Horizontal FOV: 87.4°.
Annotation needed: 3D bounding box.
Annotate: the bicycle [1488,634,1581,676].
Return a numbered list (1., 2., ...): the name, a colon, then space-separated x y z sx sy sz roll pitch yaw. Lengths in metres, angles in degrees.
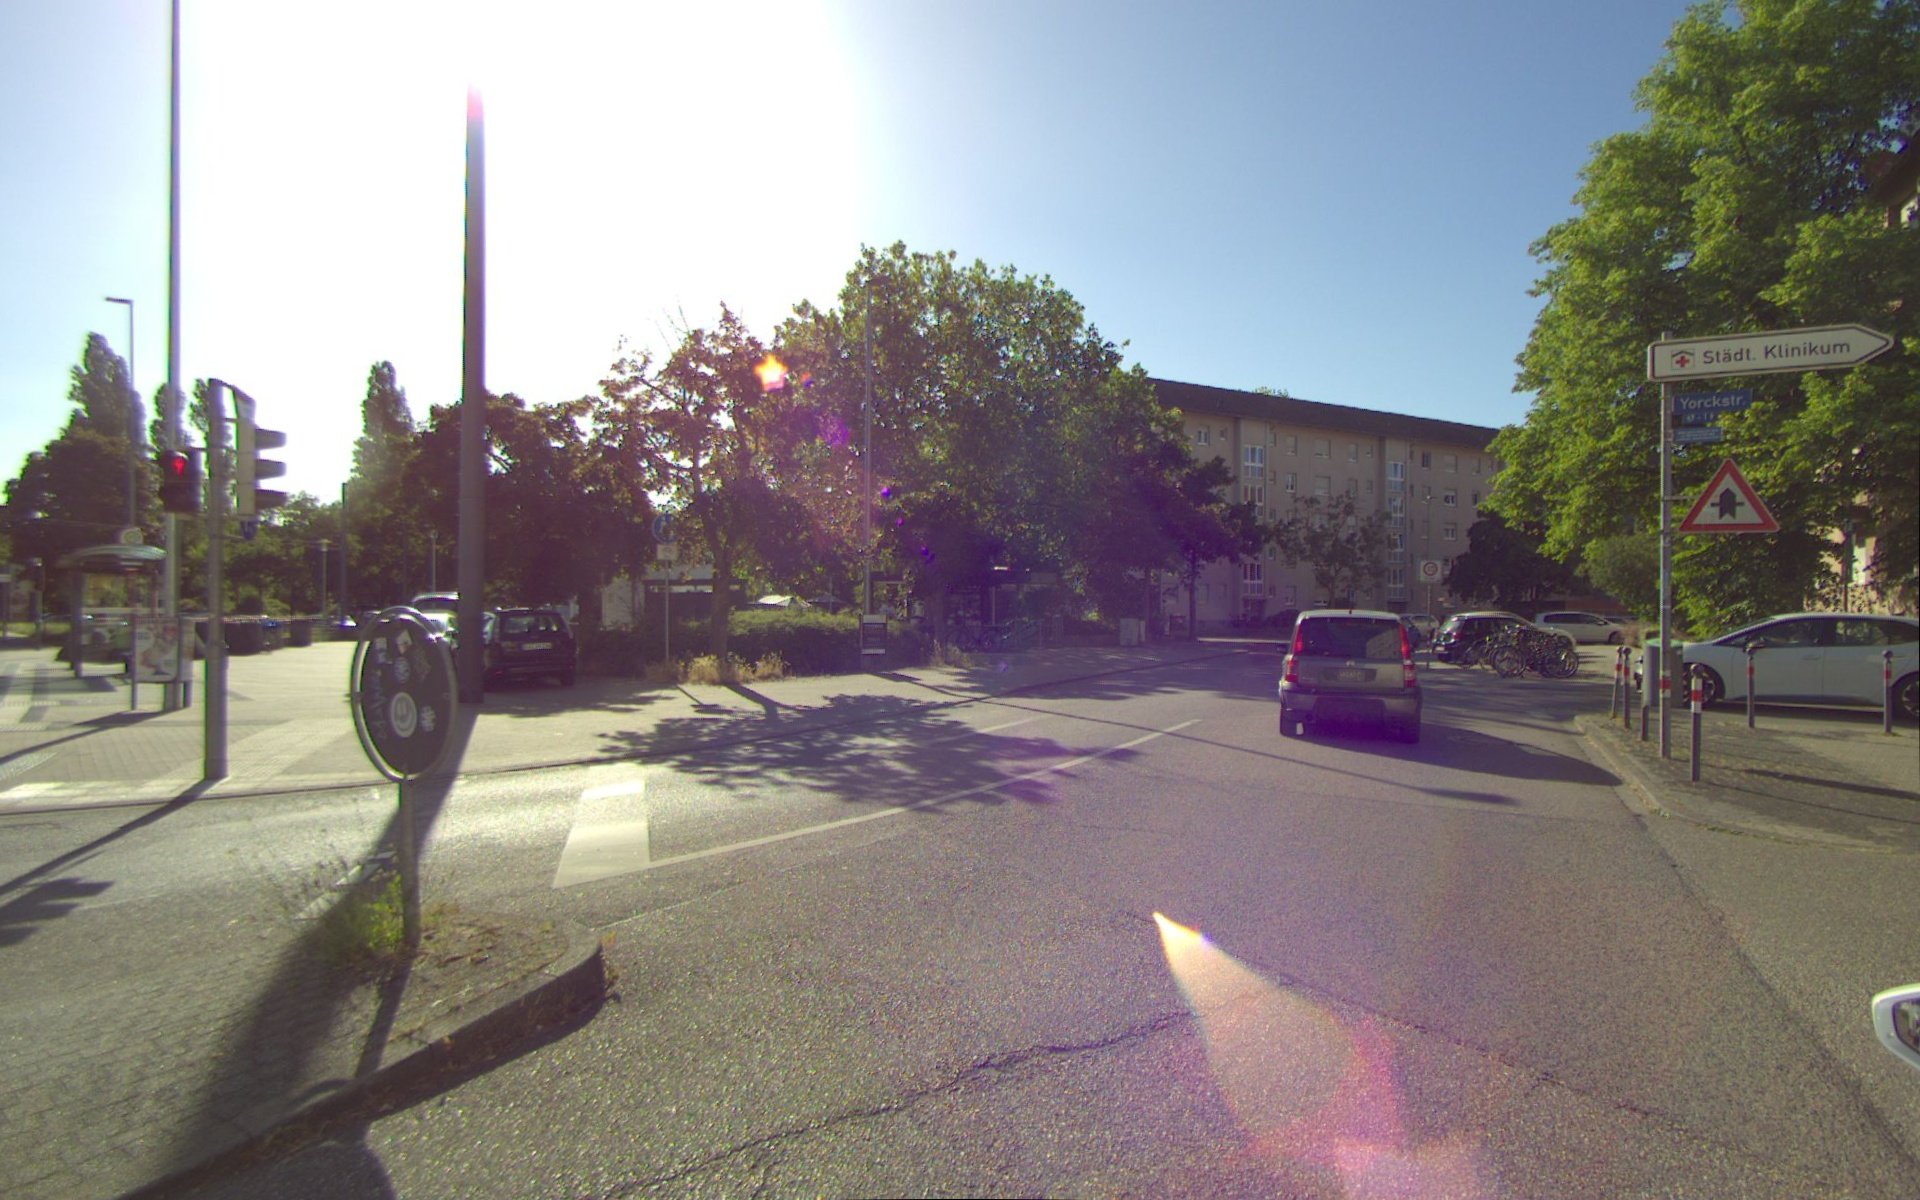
1. bicycle: 14.716 1.398 25.778 1.994 1.044 0.448 -1 -1 19

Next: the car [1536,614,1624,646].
1. car: 29.696 1.417 48.171 3.532 1.501 1.617 -1 -1 33

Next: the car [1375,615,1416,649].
1. car: 20.086 1.443 46.305 1.652 1.528 3.593 0 -1 25

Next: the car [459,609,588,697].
1. car: -8.668 0.963 19.815 1.666 1.528 3.562 -2 1 -34

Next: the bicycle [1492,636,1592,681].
1. bicycle: 14.032 1.397 24.257 1.994 1.044 0.571 -1 -1 19

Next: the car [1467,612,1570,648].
1. car: 23.880 1.286 43.041 3.521 1.501 1.622 0 -1 3

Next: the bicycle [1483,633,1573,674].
1. bicycle: 14.871 1.402 26.356 1.994 1.044 0.448 -1 -1 19

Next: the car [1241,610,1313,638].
1. car: 20.750 1.570 65.831 2.041 1.822 4.396 1 -1 -27

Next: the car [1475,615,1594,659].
1. car: 19.740 1.254 34.614 3.192 1.501 1.622 0 -1 3

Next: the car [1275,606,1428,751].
1. car: 4.979 0.889 12.785 1.590 1.582 3.256 0 -1 22

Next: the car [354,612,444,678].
1. car: -14.168 1.076 25.274 1.667 1.528 3.562 1 -1 -34

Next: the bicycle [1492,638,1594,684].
1. bicycle: 13.689 1.415 23.628 1.994 1.044 0.571 -1 -1 19

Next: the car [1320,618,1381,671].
1. car: 12.066 1.318 30.945 1.651 1.528 3.757 0 -1 22

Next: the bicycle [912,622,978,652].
1. bicycle: -0.530 1.280 34.734 2.268 0.995 0.557 0 -1 23

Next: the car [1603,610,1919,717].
1. car: 13.232 0.934 16.048 4.952 1.539 1.918 0 -1 34

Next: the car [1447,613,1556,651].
1. car: 21.769 1.279 40.496 3.521 1.501 1.622 0 -1 3

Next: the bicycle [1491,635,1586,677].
1. bicycle: 14.491 1.396 25.217 1.994 1.044 0.448 -1 -1 19

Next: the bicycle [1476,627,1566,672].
1. bicycle: 15.059 1.326 27.021 1.994 1.192 0.668 -1 -1 19

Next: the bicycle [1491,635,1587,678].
1. bicycle: 14.255 1.386 24.776 1.994 1.044 0.469 -1 -1 19
